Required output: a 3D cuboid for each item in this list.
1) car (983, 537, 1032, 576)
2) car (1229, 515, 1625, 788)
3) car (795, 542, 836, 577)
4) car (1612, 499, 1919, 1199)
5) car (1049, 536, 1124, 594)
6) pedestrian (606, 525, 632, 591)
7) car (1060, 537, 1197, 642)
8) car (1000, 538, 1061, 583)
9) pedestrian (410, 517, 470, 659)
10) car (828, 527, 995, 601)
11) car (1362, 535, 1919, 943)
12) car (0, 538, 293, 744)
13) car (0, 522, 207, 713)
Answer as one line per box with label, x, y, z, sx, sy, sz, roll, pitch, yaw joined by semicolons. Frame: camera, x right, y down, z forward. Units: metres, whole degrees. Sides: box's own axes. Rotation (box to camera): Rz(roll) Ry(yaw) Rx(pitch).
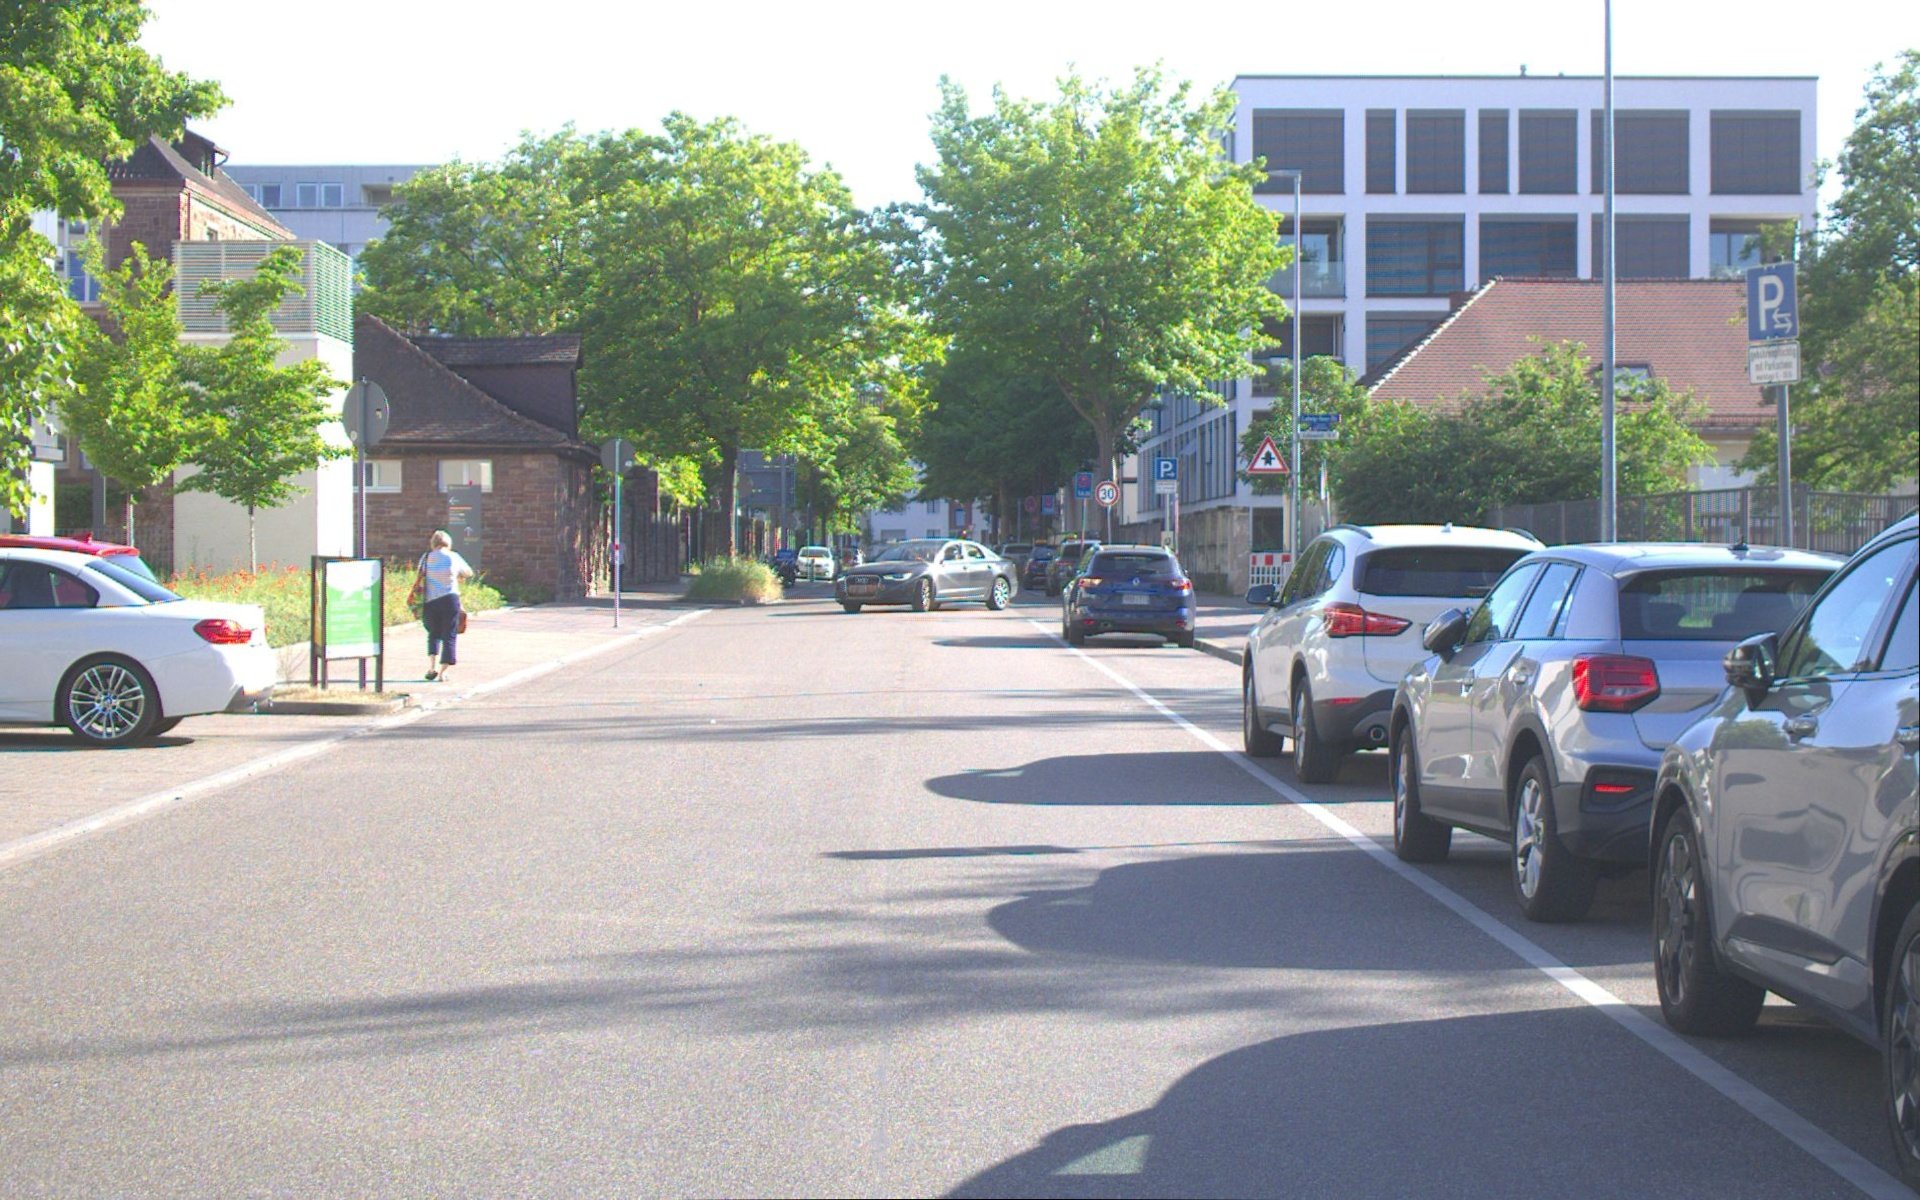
car;1.936;-1.773;140.616;1.950;1.573;3.836;0;1;0
car;2.955;0.261;22.649;1.813;1.583;4.263;2;1;-2
car;-6.342;-1.794;151.194;1.767;1.482;4.000;0;1;-2
car;3.022;0.566;9.076;1.700;1.600;4.353;2;1;0
car;3.297;-0.945;90.440;1.703;1.463;4.789;1;1;-1
pedestrian;-8.141;-1.015;82.143;0.521;1.557;1.096;0;1;-1
car;2.436;-0.189;50.494;1.818;1.448;4.214;0;1;0
car;2.270;-1.291;111.587;1.767;1.435;4.000;0;1;-2
pedestrian;-5.617;-0.132;37.161;0.538;1.518;0.607;0;1;1
car;-0.928;-0.739;69.052;1.764;1.437;4.533;0;1;21
car;2.962;0.492;14.936;1.700;1.482;3.981;2;1;-3
car;-7.276;0.231;25.146;4.511;1.362;1.700;2;1;-5
car;-8.112;0.102;28.056;3.634;1.464;1.614;1;2;-5
